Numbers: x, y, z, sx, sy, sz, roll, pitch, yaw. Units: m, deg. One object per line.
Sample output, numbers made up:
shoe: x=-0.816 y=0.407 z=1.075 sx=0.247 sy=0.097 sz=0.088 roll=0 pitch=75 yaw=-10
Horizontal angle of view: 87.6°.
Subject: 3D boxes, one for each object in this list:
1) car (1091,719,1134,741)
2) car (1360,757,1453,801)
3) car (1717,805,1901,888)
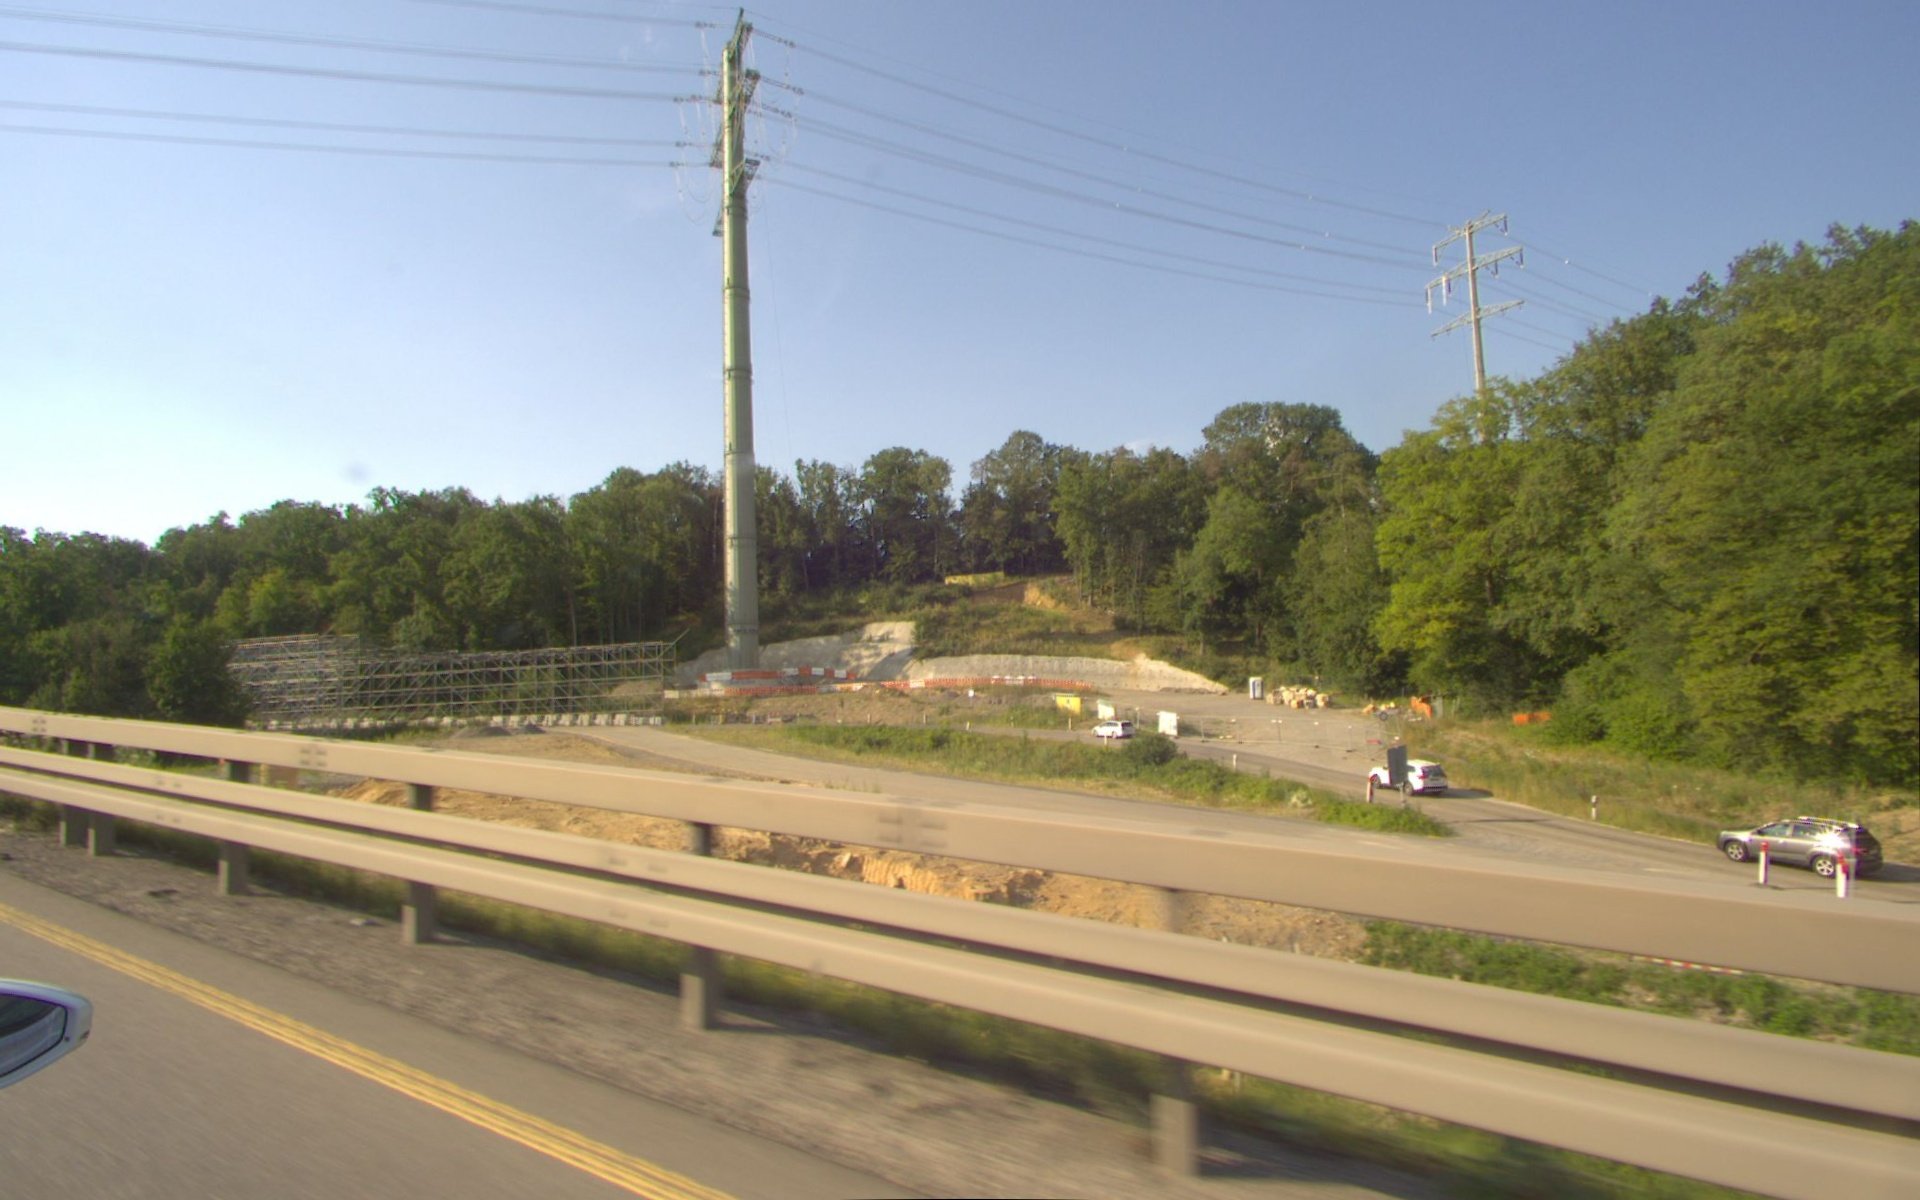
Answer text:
car: x=12.993 y=11.132 z=85.724 sx=1.507 sy=1.479 sz=4.253 roll=-1 pitch=-2 yaw=-26
car: x=23.039 y=9.220 z=51.827 sx=1.647 sy=1.682 sz=4.458 roll=2 pitch=-4 yaw=-24
car: x=29.137 y=8.408 z=34.547 sx=1.838 sy=1.807 sz=4.486 roll=0 pitch=-2 yaw=-22
